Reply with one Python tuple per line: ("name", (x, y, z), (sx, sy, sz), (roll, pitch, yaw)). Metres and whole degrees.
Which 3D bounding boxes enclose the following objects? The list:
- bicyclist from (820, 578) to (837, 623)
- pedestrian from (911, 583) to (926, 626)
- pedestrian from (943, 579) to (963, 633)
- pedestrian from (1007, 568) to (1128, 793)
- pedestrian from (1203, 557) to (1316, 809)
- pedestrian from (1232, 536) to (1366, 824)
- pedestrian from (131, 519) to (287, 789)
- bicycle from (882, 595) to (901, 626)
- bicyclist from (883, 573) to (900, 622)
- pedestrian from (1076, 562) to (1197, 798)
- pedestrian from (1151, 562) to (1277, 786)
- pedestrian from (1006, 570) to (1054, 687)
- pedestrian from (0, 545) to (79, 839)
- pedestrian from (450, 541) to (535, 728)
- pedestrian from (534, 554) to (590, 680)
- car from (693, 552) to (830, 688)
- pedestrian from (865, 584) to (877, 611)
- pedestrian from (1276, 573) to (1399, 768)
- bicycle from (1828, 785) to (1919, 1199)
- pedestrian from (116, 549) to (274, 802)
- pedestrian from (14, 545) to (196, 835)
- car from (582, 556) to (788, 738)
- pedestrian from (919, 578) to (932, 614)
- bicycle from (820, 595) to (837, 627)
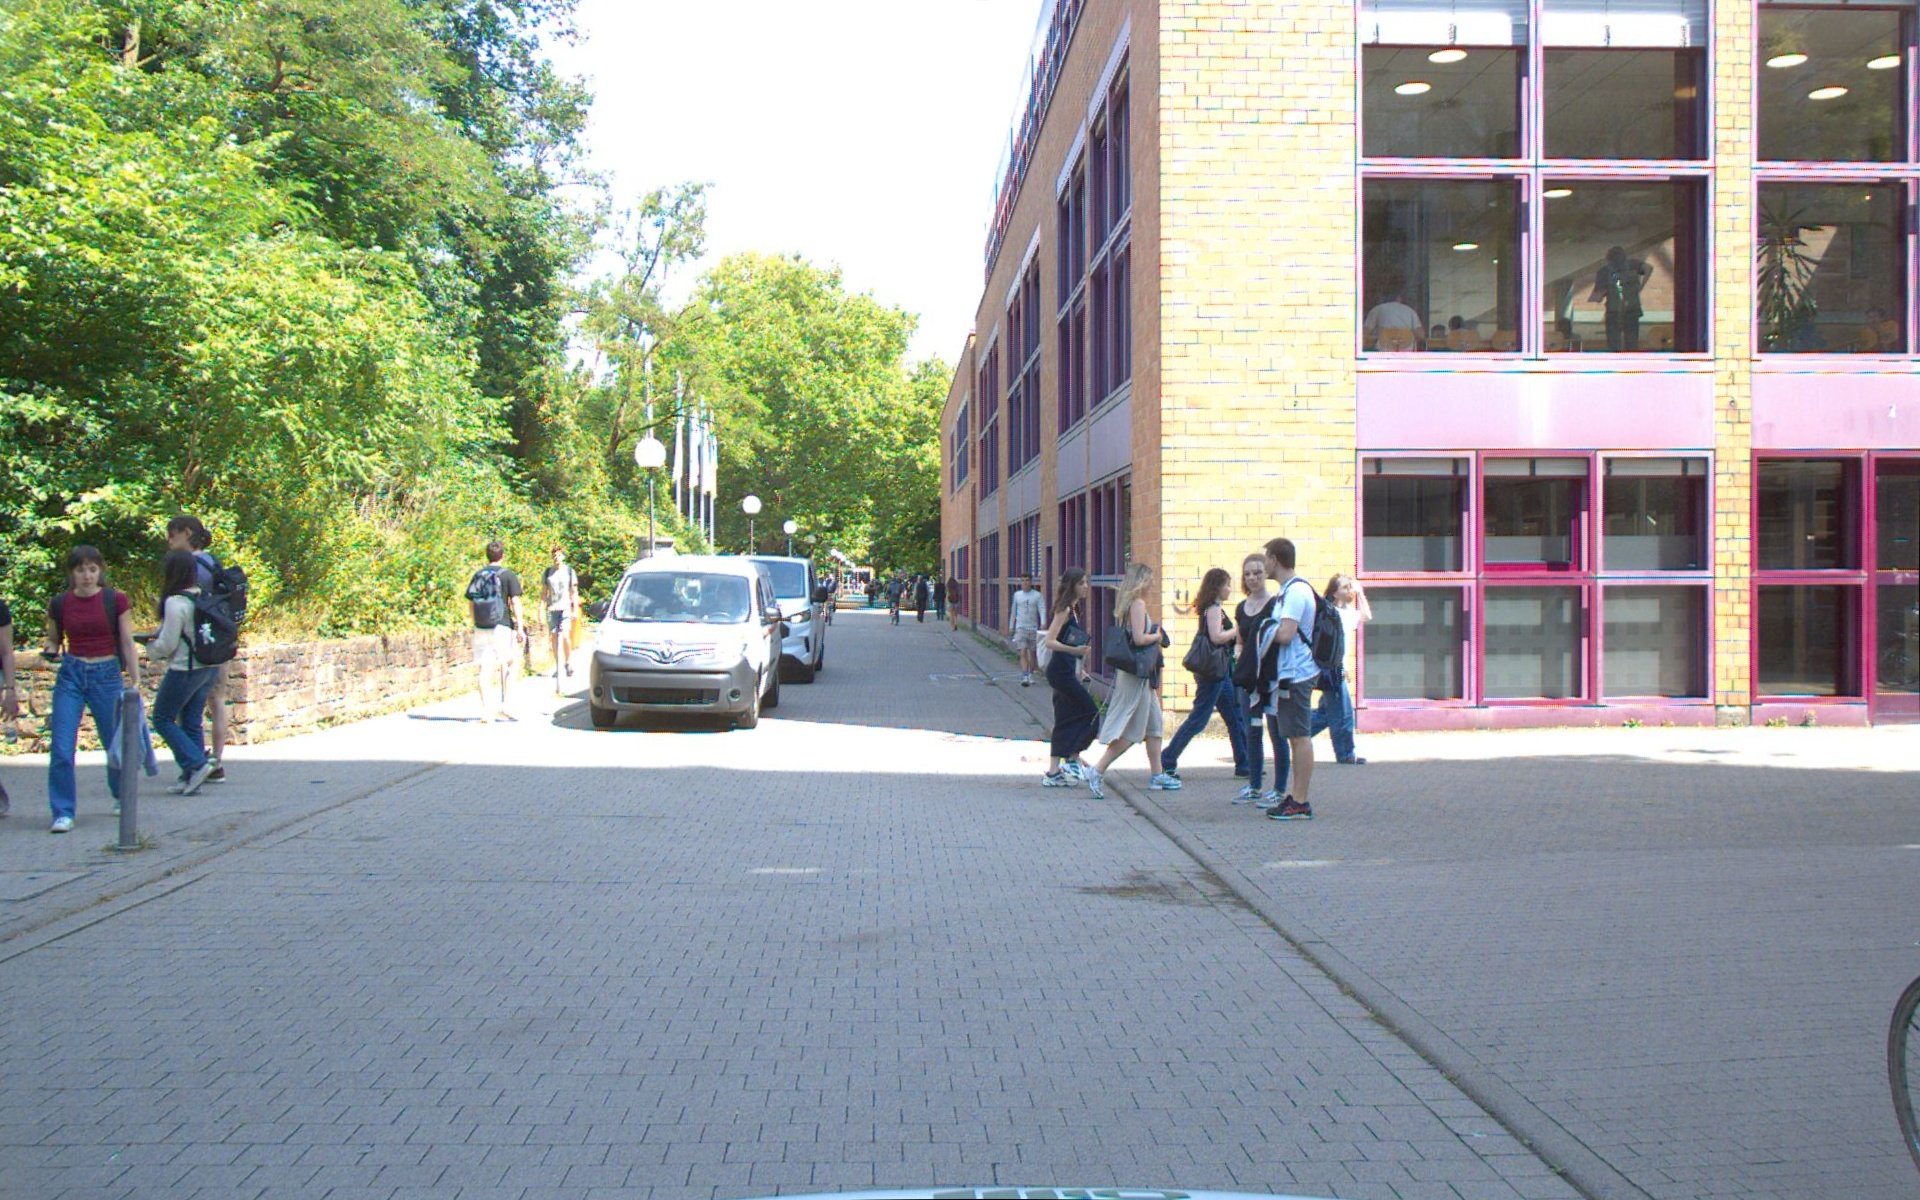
("bicyclist", (-4.646, 0.011, 58.325), (0.575, 1.600, 0.828), (0, 0, -6))
("pedestrian", (-1.668, 0.197, 66.730), (0.574, 1.702, 0.817), (-1, -1, -1))
("pedestrian", (-0.220, 0.192, 53.129), (0.574, 1.702, 0.698), (-1, -1, -1))
("pedestrian", (0.851, 0.616, 13.025), (0.867, 1.701, 0.643), (-2, 1, 5))
("pedestrian", (2.085, 0.570, 11.567), (0.682, 1.702, 0.588), (-1, -1, 5))
("pedestrian", (2.221, 0.517, 10.907), (0.750, 1.826, 0.588), (-1, -1, 5))
("pedestrian", (-5.368, 0.381, 11.859), (0.809, 1.876, 0.684), (0, -1, -5))
("bicycle", (-2.484, 0.379, 60.207), (0.575, 1.102, 1.905), (0, 0, -6))
("bicyclist", (-2.487, -0.090, 60.219), (0.575, 1.746, 0.664), (0, 0, -6))
("pedestrian", (1.302, 0.581, 12.268), (0.867, 1.702, 0.559), (0, -1, 5))
("pedestrian", (1.973, 0.570, 12.942), (0.909, 1.702, 0.588), (-1, -1, 5))
("pedestrian", (1.079, 0.437, 25.657), (0.669, 1.778, 0.782), (0, -1, -3))
("pedestrian", (-5.755, 0.518, 9.744), (0.669, 1.649, 0.977), (0, -1, -7))
("pedestrian", (-4.805, 0.348, 17.034), (0.669, 1.876, 0.782), (0, -1, -3))
("pedestrian", (-6.032, 0.253, 25.075), (0.669, 1.876, 0.782), (0, -1, -3))
("car", (-3.158, 0.265, 27.201), (1.846, 2.008, 5.212), (0, 1, -3))
("pedestrian", (-5.638, -0.153, 104.575), (0.710, 1.702, 0.748), (-1, -1, -1))
("pedestrian", (3.177, 0.578, 13.975), (0.867, 1.569, 0.743), (-2, 1, 5))
("bicycle", (2.356, 0.937, 3.085), (0.442, 0.978, 1.739), (-3, 0, -3))
("pedestrian", (-5.158, 0.498, 11.193), (0.765, 1.649, 0.684), (0, -1, -5))
("pedestrian", (-5.084, 0.515, 9.884), (0.669, 1.649, 0.912), (0, -1, -7))
("car", (-2.959, 0.440, 18.655), (1.754, 1.792, 4.479), (-1, 1, -3))
("pedestrian", (-1.919, -0.216, 92.009), (0.640, 1.956, 0.817), (-1, -1, -1))
("bicycle", (-4.661, 0.397, 58.458), (0.575, 1.102, 1.811), (0, 0, -6))
